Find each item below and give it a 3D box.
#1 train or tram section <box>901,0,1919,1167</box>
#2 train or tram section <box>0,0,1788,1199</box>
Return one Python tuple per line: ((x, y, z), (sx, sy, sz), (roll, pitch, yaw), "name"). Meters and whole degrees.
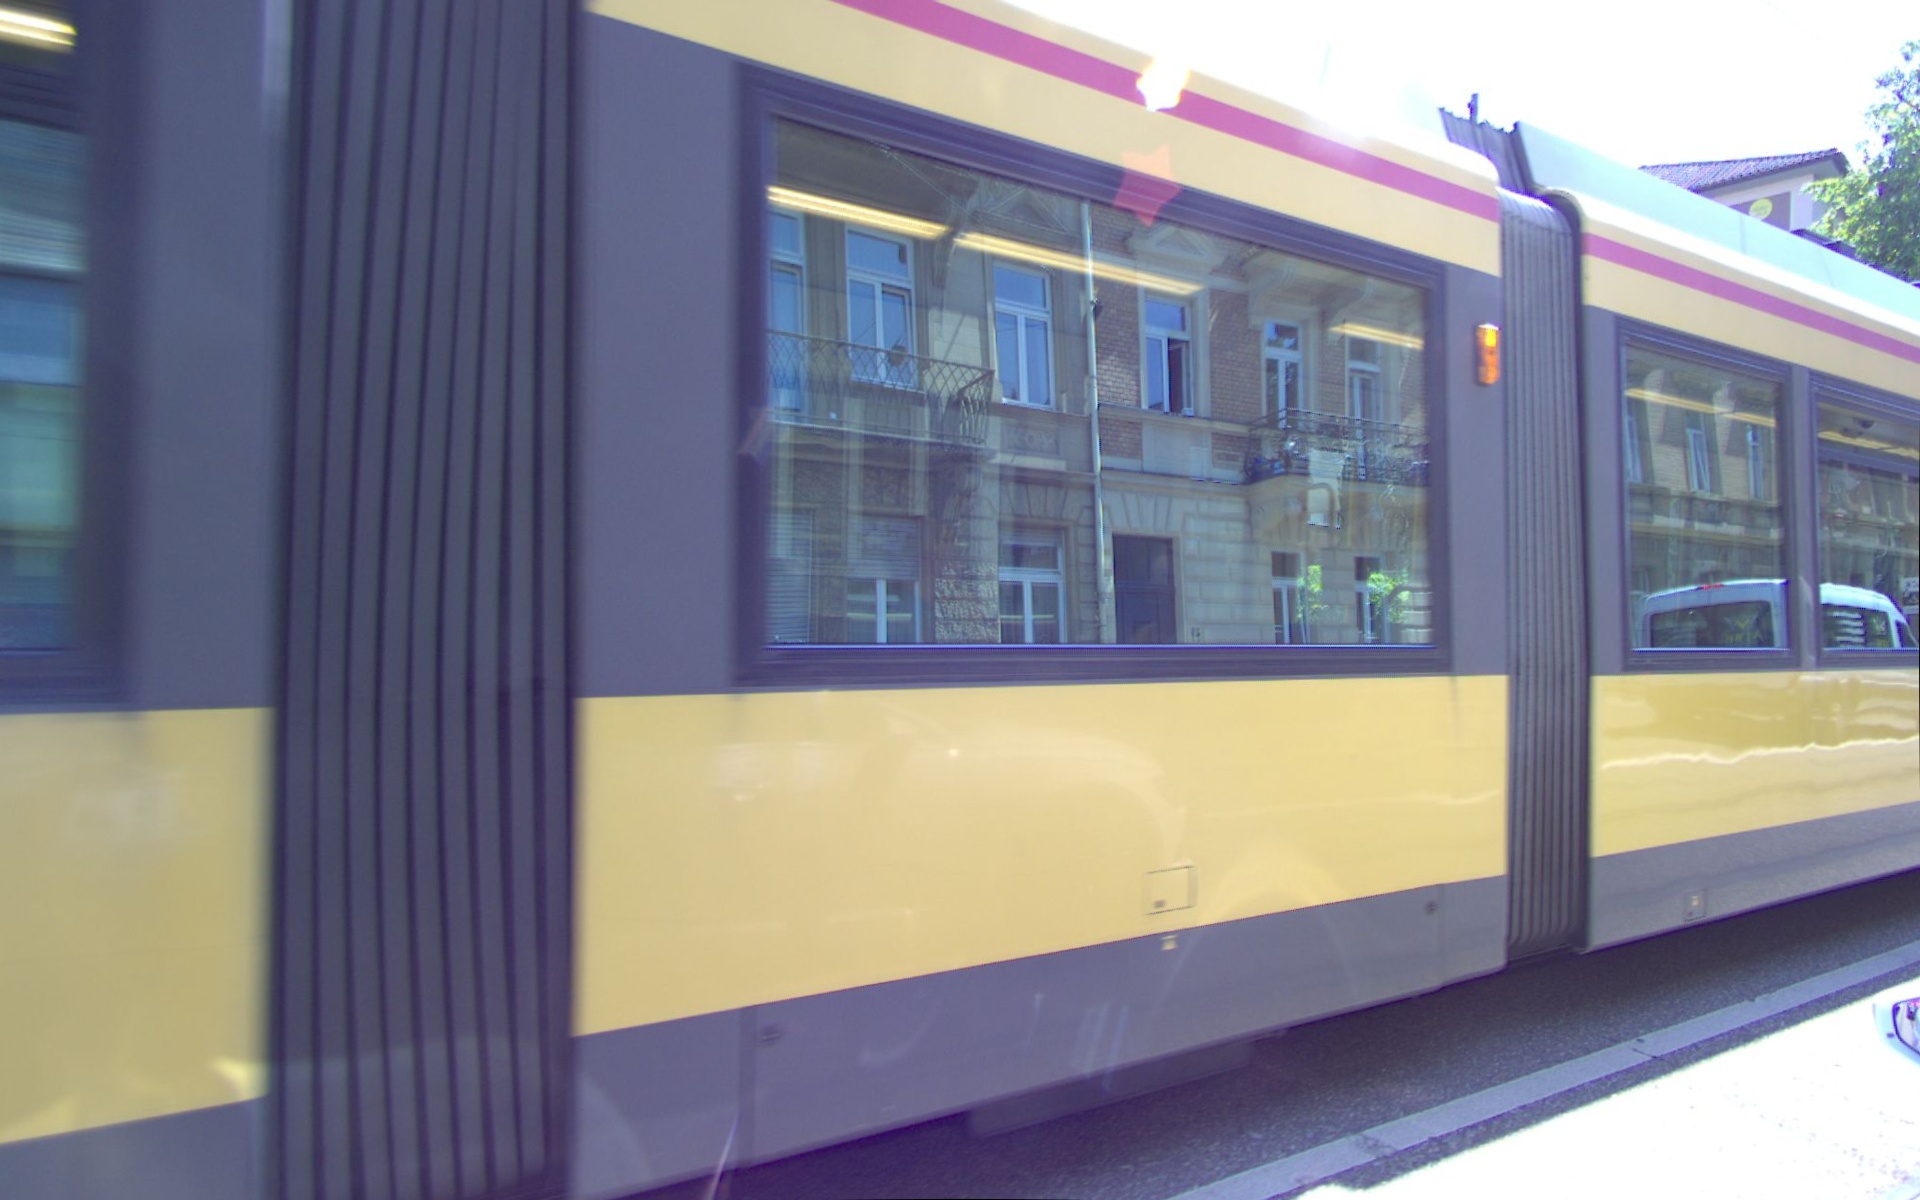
((6.192, -0.113, 7.331), (13.260, 3.628, 2.947), (1, 0, -29), "train or tram section")
((-3.246, -0.384, 1.998), (13.260, 3.628, 2.947), (1, 0, -29), "train or tram section")
